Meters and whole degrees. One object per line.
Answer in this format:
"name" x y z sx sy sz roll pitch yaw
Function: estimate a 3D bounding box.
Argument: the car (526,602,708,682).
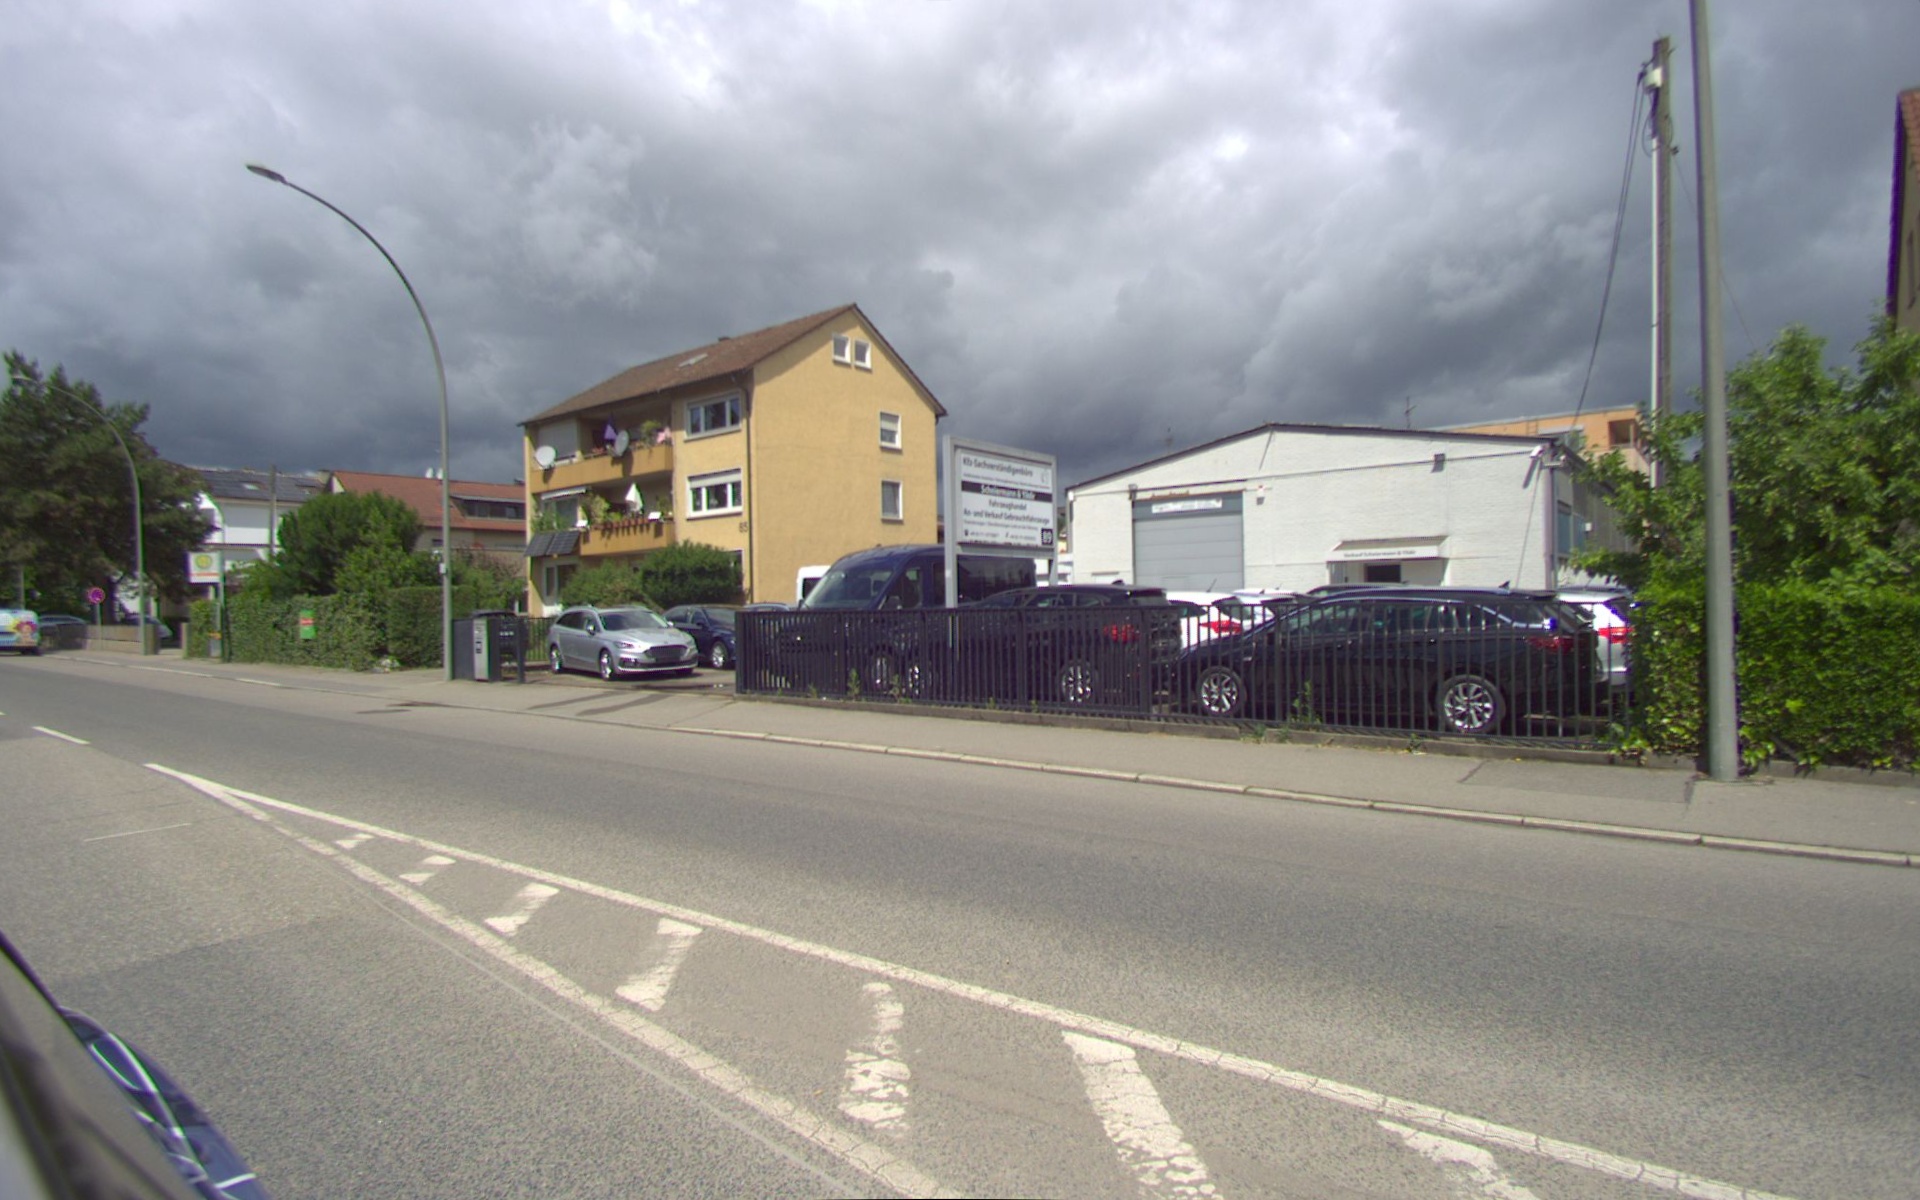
"car" -7.577 0.843 21.983 1.968 1.497 5.349 0 -1 -39

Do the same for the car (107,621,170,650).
"car" -45.722 1.974 56.286 4.079 1.555 1.751 -1 -1 36

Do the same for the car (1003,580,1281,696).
"car" 2.844 0.575 16.129 3.990 1.630 1.761 -1 -1 35

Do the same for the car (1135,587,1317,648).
"car" 8.061 0.549 30.909 4.998 1.726 2.030 -1 -1 37

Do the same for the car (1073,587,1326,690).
"car" 4.174 0.641 17.875 3.990 1.630 1.761 -1 -1 35

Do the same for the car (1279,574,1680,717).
"car" 6.542 0.522 12.923 4.260 1.518 2.134 -1 -1 37

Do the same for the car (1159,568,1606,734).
"car" 4.660 0.510 11.401 4.260 1.518 2.133 -1 -1 37

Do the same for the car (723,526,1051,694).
"car" -1.068 0.177 18.234 2.475 2.515 5.977 -1 -1 39

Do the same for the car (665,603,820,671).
"car" -5.205 0.828 23.825 1.821 1.437 4.338 0 -1 -39

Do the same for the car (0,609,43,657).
"car" -39.621 1.398 41.816 4.891 1.868 1.815 -2 -5 40

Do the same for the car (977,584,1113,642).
"car" 2.829 0.449 34.137 4.328 1.805 1.826 -1 -1 41

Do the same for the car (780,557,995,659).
"car" -2.119 0.283 27.888 6.134 2.514 2.386 -1 -3 43

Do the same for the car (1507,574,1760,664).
"car" 13.221 0.374 20.083 3.990 1.630 1.761 -1 -1 35

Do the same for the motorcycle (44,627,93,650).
"motorcycle" -46.794 2.017 53.152 1.845 1.174 0.827 0 -1 -34

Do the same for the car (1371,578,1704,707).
"car" 8.289 0.570 14.675 3.994 1.630 1.759 -1 -1 38

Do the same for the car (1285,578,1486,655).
"car" 9.728 0.390 23.243 3.990 1.630 1.761 -1 -1 35

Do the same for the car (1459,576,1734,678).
"car" 11.306 0.470 18.174 3.990 1.630 1.761 -1 -1 35

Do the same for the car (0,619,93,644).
"car" -60.740 2.051 66.893 1.970 1.563 4.960 -1 0 38

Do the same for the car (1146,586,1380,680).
"car" 5.804 0.608 19.530 3.990 1.630 1.761 -1 -1 35

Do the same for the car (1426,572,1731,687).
"car" 9.838 0.452 16.251 3.994 1.630 1.759 -1 -1 38

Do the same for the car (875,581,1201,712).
"car" 1.046 0.611 14.561 4.277 1.607 2.013 -1 -1 37

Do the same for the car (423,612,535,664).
"car" -14.388 1.098 30.179 1.823 1.437 4.335 0 -1 -43

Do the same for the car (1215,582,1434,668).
"car" 7.538 0.516 21.058 3.990 1.630 1.761 -1 -1 35

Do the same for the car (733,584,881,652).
"car" -3.995 0.448 25.876 1.821 1.589 4.338 0 -1 -39
